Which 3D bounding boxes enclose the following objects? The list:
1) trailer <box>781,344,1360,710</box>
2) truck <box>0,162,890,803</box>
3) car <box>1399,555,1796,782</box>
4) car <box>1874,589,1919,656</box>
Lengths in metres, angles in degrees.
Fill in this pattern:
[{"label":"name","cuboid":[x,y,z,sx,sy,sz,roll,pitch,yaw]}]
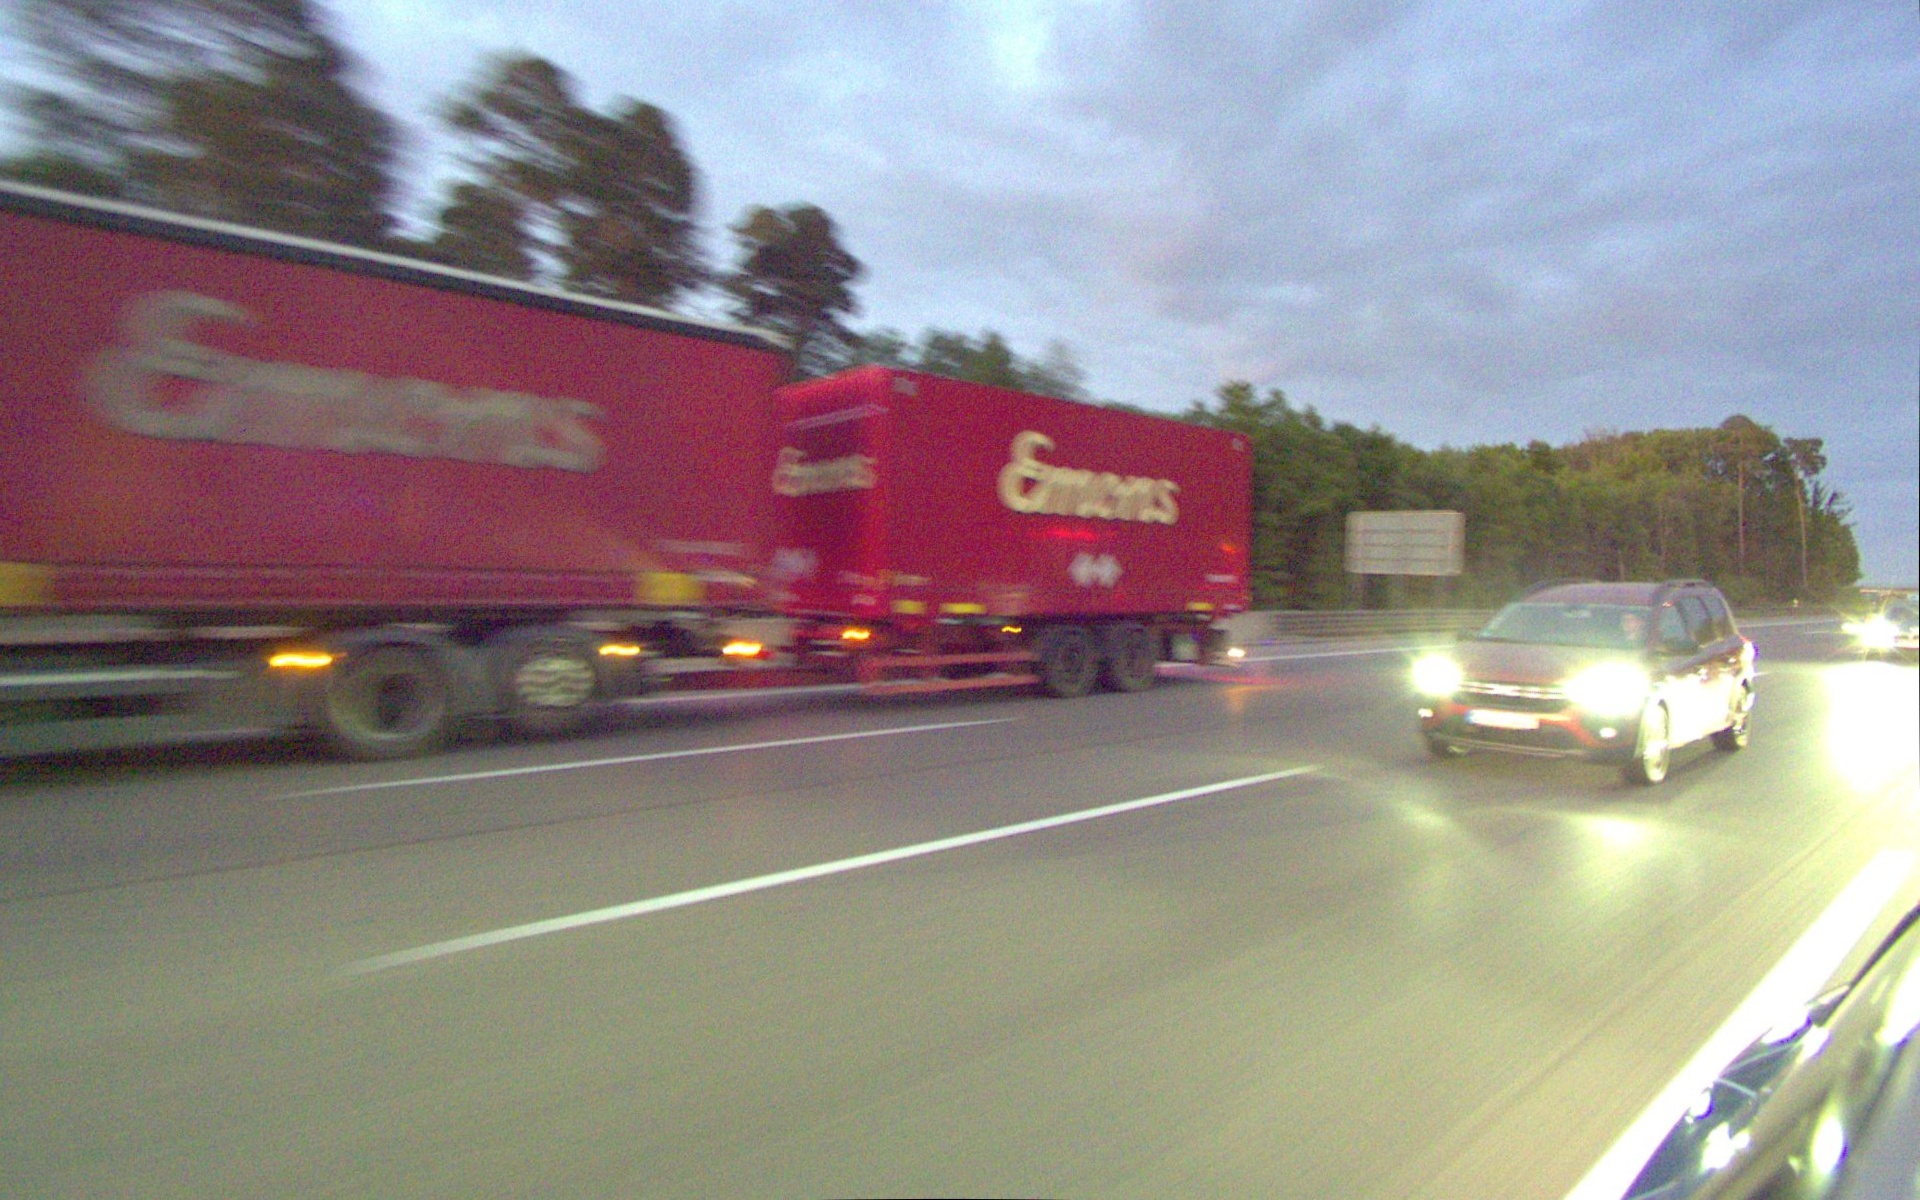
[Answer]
[{"label":"trailer","cuboid":[2.368,-0.874,15.930,10.175,4.152,2.913,0,1,-41]},{"label":"truck","cuboid":[-5.745,-0.789,8.890,10.641,4.152,2.890,0,1,-41]},{"label":"car","cuboid":[6.326,0.530,9.767,4.963,1.664,1.906,1,-1,-41]},{"label":"car","cuboid":[24.561,0.521,25.352,5.141,1.556,1.912,-1,2,-42]}]
